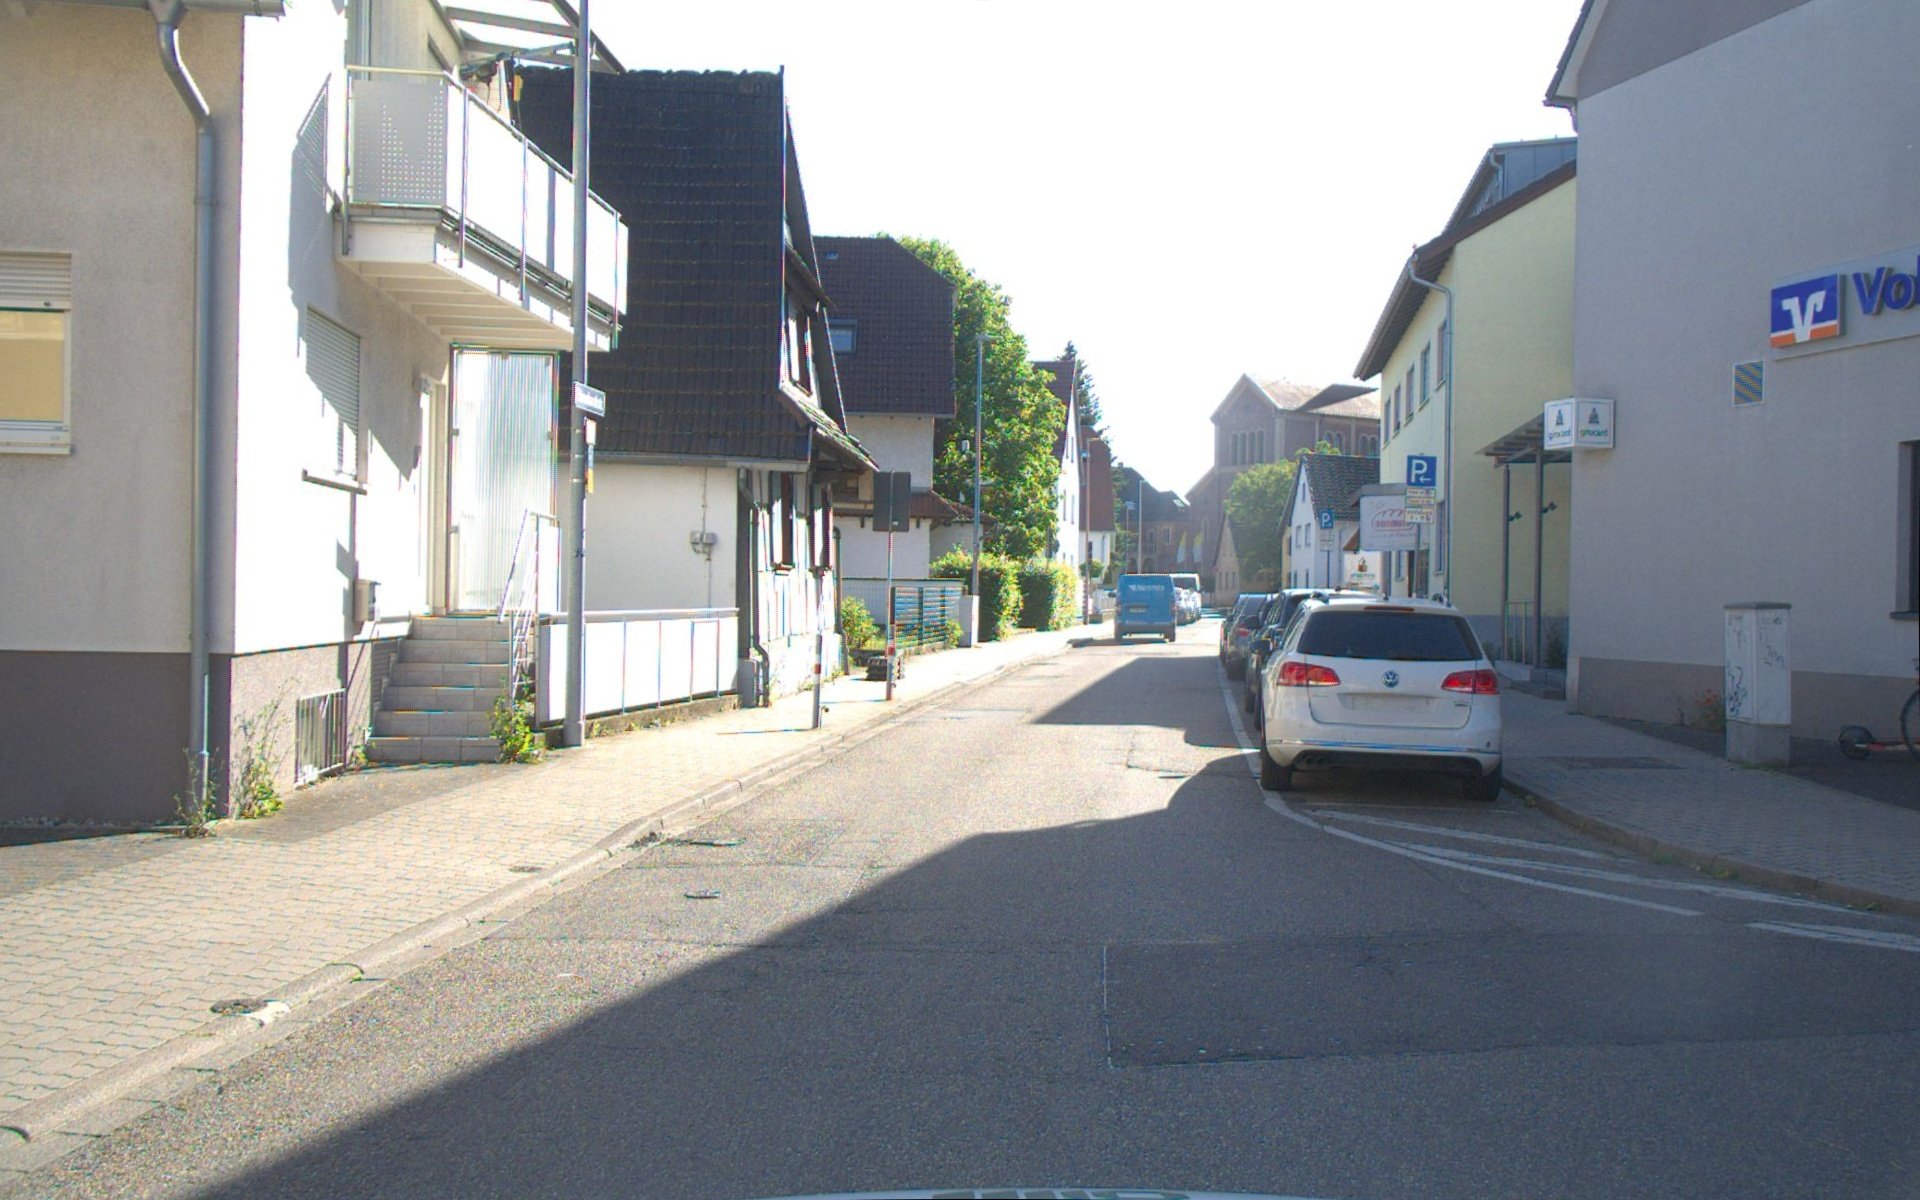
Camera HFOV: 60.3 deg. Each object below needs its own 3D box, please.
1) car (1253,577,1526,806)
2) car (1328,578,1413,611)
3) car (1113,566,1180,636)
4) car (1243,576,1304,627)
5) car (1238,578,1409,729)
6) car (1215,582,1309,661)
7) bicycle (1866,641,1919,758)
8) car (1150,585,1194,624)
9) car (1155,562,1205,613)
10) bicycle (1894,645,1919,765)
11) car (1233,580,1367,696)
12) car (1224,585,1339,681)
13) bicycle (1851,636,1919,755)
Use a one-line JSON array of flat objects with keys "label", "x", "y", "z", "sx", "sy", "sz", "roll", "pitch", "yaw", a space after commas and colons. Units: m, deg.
[{"label": "car", "x": 3.369, "y": 0.588, "z": 13.642, "sx": 1.806, "sy": 1.540, "sz": 4.510, "roll": 1, "pitch": 1, "yaw": 11}, {"label": "car", "x": 19.687, "y": -0.259, "z": 79.266, "sx": 3.831, "sy": 1.518, "sz": 1.848, "roll": 0, "pitch": 0, "yaw": 19}, {"label": "car", "x": 5.560, "y": 0.009, "z": 49.175, "sx": 1.862, "sy": 1.951, "sz": 5.074, "roll": -1, "pitch": 0, "yaw": 7}, {"label": "car", "x": 9.948, "y": 0.030, "z": 52.403, "sx": 1.773, "sy": 1.501, "sz": 4.664, "roll": 2, "pitch": 1, "yaw": 11}, {"label": "car", "x": 4.204, "y": 0.545, "z": 19.608, "sx": 1.576, "sy": 1.547, "sz": 3.975, "roll": 2, "pitch": 1, "yaw": 7}, {"label": "car", "x": 6.396, "y": 0.429, "z": 35.406, "sx": 1.770, "sy": 1.501, "sz": 4.848, "roll": 2, "pitch": 0, "yaw": 8}, {"label": "bicycle", "x": 8.095, "y": 0.816, "z": 13.544, "sx": 1.138, "sy": 0.936, "sz": 0.313, "roll": 0, "pitch": 0, "yaw": 16}, {"label": "car", "x": 9.186, "y": 0.188, "z": 71.434, "sx": 1.678, "sy": 1.626, "sz": 3.929, "roll": 0, "pitch": 1, "yaw": 10}, {"label": "car", "x": 11.116, "y": -0.653, "z": 83.361, "sx": 2.150, "sy": 2.431, "sz": 6.070, "roll": -1, "pitch": 0, "yaw": 10}, {"label": "bicycle", "x": 8.090, "y": 0.839, "z": 13.120, "sx": 1.138, "sy": 0.936, "sz": 0.313, "roll": 0, "pitch": 0, "yaw": 16}, {"label": "car", "x": 4.934, "y": 0.491, "z": 24.402, "sx": 1.688, "sy": 1.501, "sz": 3.878, "roll": 2, "pitch": 1, "yaw": 9}, {"label": "car", "x": 5.617, "y": 0.519, "z": 29.293, "sx": 1.770, "sy": 1.501, "sz": 4.448, "roll": 2, "pitch": 1, "yaw": 9}, {"label": "bicycle", "x": 8.307, "y": 0.820, "z": 14.121, "sx": 1.197, "sy": 0.992, "sz": 0.320, "roll": 0, "pitch": 0, "yaw": 22}]
